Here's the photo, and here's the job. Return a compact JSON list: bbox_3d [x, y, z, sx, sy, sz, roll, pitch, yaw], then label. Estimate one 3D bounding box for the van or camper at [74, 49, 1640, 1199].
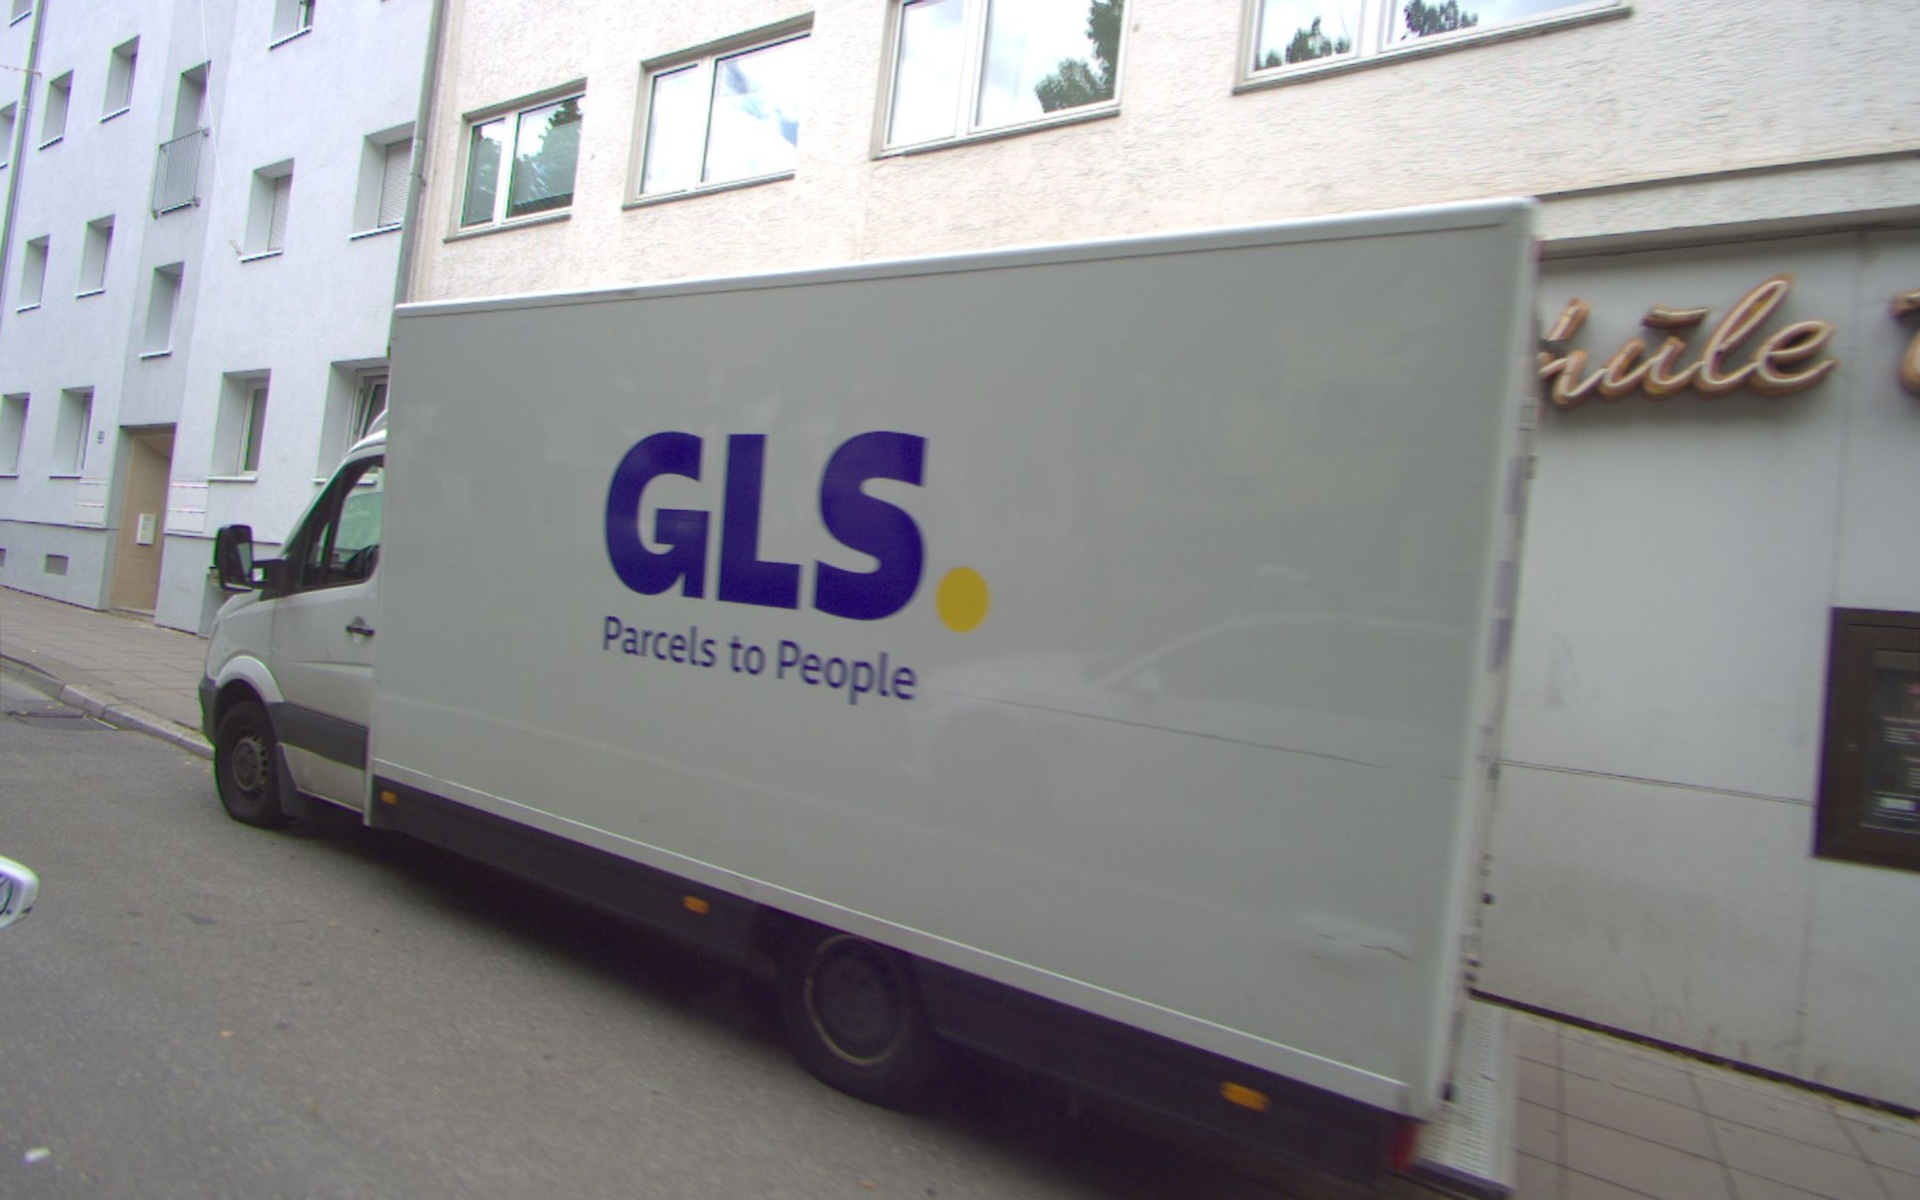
[{"bbox_3d":[-1.169,0.057,4.992,7.116,2.835,2.486,6,-2,30],"label":"van or camper"}]
